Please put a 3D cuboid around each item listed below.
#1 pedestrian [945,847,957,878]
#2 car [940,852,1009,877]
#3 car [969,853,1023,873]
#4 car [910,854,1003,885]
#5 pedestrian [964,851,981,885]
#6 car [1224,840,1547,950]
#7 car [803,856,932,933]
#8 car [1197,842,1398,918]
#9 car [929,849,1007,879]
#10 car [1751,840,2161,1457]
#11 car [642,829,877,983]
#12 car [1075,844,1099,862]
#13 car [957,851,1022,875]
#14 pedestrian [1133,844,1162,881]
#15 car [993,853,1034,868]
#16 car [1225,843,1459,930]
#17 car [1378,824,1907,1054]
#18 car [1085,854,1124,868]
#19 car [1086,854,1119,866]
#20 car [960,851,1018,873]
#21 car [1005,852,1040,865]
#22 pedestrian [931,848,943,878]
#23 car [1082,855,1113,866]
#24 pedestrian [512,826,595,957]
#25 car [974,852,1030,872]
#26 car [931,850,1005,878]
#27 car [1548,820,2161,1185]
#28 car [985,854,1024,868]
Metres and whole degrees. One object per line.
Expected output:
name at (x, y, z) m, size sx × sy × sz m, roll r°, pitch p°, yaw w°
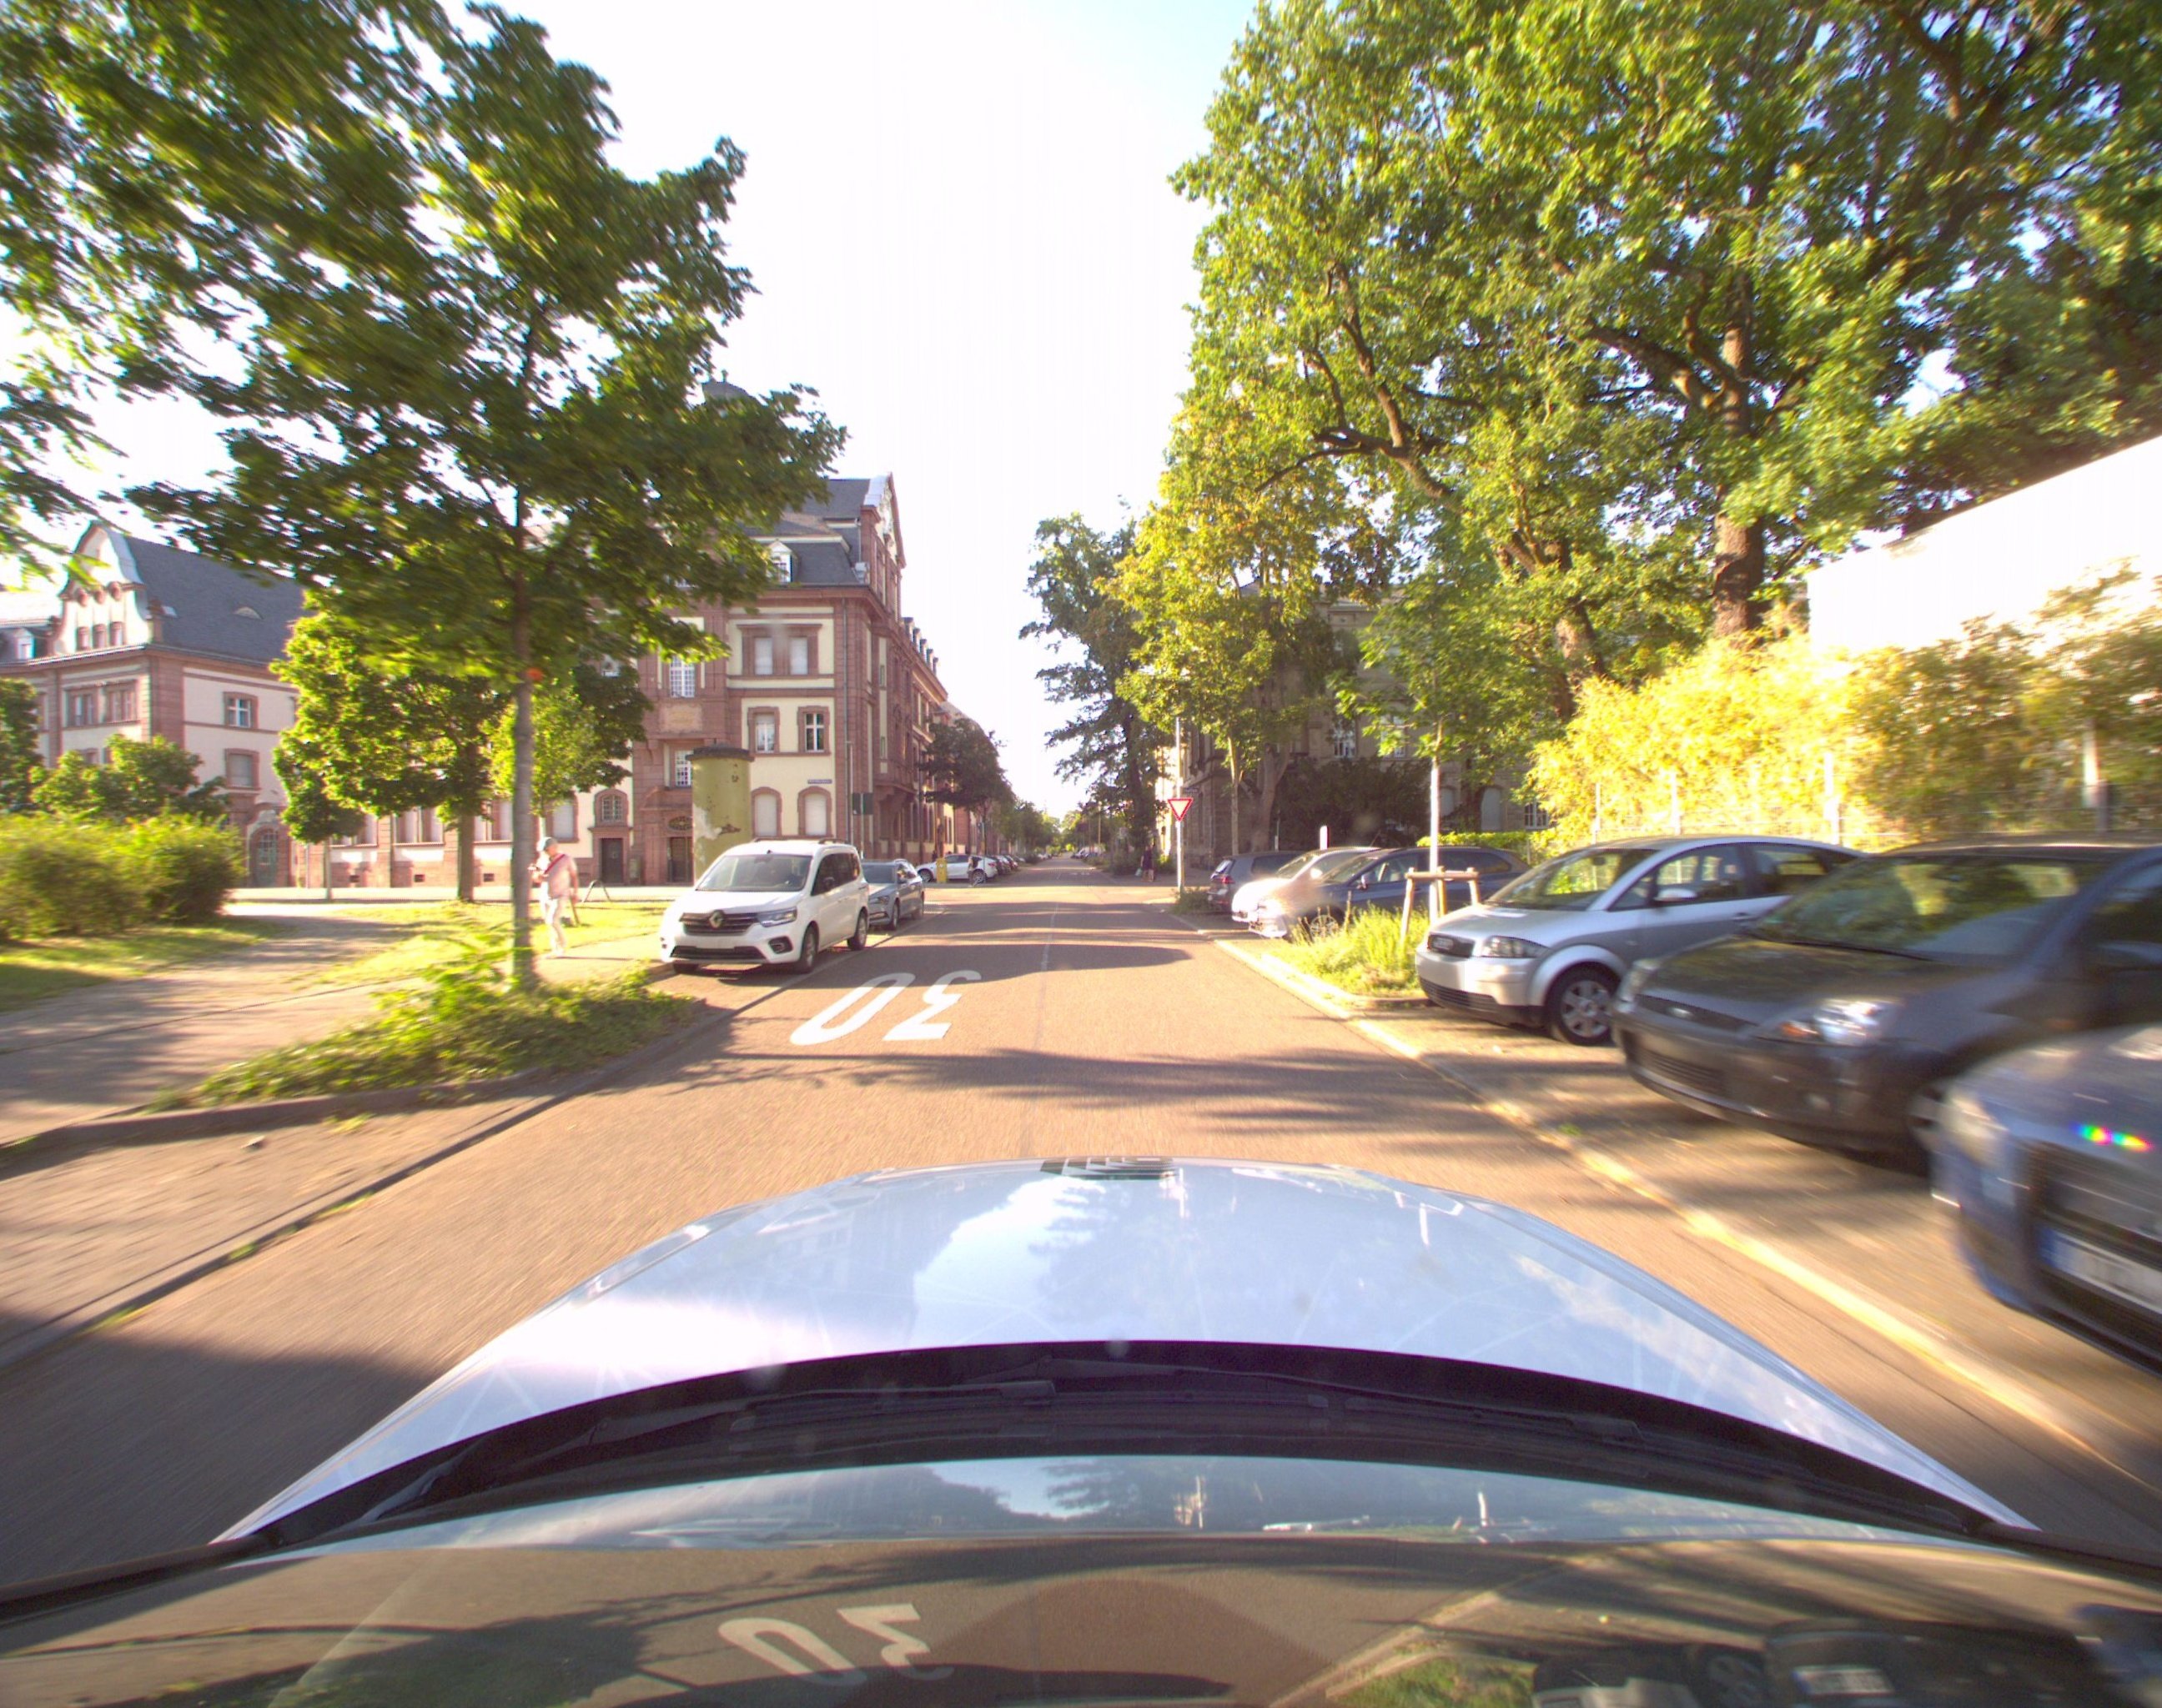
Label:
pedestrian at (-8.502, 0.564, 53.304) m, size 0.785 × 1.962 × 0.718 m, roll -1°, pitch -1°, yaw -9°
car at (-7.113, 0.670, 54.916) m, size 4.473 × 1.608 × 1.840 m, roll 0°, pitch 0°, yaw -4°
car at (-7.237, 0.776, 69.918) m, size 4.473 × 1.608 × 1.840 m, roll 0°, pitch 0°, yaw -4°
car at (-6.800, 0.825, 44.860) m, size 4.832 × 1.594 × 1.840 m, roll -1°, pitch 0°, yaw -4°
pedestrian at (-5.172, 0.683, 38.822) m, size 0.784 × 1.606 × 0.719 m, roll -1°, pitch -1°, yaw -7°
car at (4.720, 0.598, 13.025) m, size 4.482 × 1.549 × 1.888 m, roll -1°, pitch 0°, yaw -4°
car at (-4.696, 0.816, 18.599) m, size 1.775 × 1.505 × 4.551 m, roll 0°, pitch 0°, yaw -1°
car at (4.693, 0.580, 18.064) m, size 3.941 × 1.517 × 1.873 m, roll -1°, pitch -2°, yaw 0°
car at (-6.812, 0.585, 49.401) m, size 4.473 × 1.717 × 1.840 m, roll -1°, pitch 0°, yaw -4°
car at (4.787, 0.600, 2.058) m, size 4.574 × 1.415 × 1.922 m, roll -3°, pitch -1°, yaw 0°
car at (-4.465, 0.624, 12.159) m, size 1.776 × 1.840 × 4.550 m, roll -1°, pitch 0°, yaw -2°
car at (1.300, -0.255, 171.042) m, size 4.873 × 3.617 × 1.841 m, roll 0°, pitch 0°, yaw -2°
car at (-6.485, 0.636, 58.175) m, size 4.473 × 1.608 × 1.840 m, roll 0°, pitch 0°, yaw -4°
pedestrian at (3.377, 0.414, 41.581) m, size 1.068 × 1.858 × 0.992 m, roll 0°, pitch 0°, yaw -33°
car at (-7.554, 0.680, 91.616) m, size 4.473 × 1.608 × 1.840 m, roll 0°, pitch 0°, yaw -4°
car at (4.843, 0.585, 15.493) m, size 3.939 × 1.516 × 1.675 m, roll -1°, pitch 0°, yaw 1°
car at (4.589, 0.580, 6.898) m, size 3.495 × 1.584 × 1.755 m, roll -1°, pitch 0°, yaw -11°
car at (2.804, 0.867, 97.933) m, size 4.473 × 1.608 × 1.840 m, roll 0°, pitch 0°, yaw -4°
car at (3.079, 0.853, 115.372) m, size 4.573 × 1.608 × 1.840 m, roll 0°, pitch 0°, yaw -4°
car at (-7.237, 0.624, 64.522) m, size 4.473 × 1.608 × 1.840 m, roll 0°, pitch 0°, yaw -4°
car at (-7.601, 0.616, 105.882) m, size 4.473 × 1.608 × 1.840 m, roll 0°, pitch 0°, yaw -4°
pedestrian at (-9.845, 0.619, 55.624) m, size 0.717 × 1.962 × 0.786 m, roll -1°, pitch -1°, yaw -4°
car at (2.451, 0.942, 123.640) m, size 4.573 × 1.608 × 1.840 m, roll 0°, pitch 0°, yaw -4°
pedestrian at (-7.538, 0.511, 11.669) m, size 0.598 × 1.784 × 0.945 m, roll -1°, pitch 0°, yaw -4°
car at (-6.449, 0.662, 67.055) m, size 4.473 × 1.608 × 1.840 m, roll 0°, pitch 0°, yaw -4°
car at (-7.112, 0.618, 51.557) m, size 4.473 × 1.717 × 1.840 m, roll -1°, pitch 0°, yaw -4°
car at (4.902, 0.609, 4.497) m, size 3.675 × 1.524 × 1.789 m, roll -1°, pitch 0°, yaw -5°
car at (-9.009, 0.860, 95.897) m, size 4.473 × 1.608 × 1.840 m, roll 0°, pitch 0°, yaw -4°
